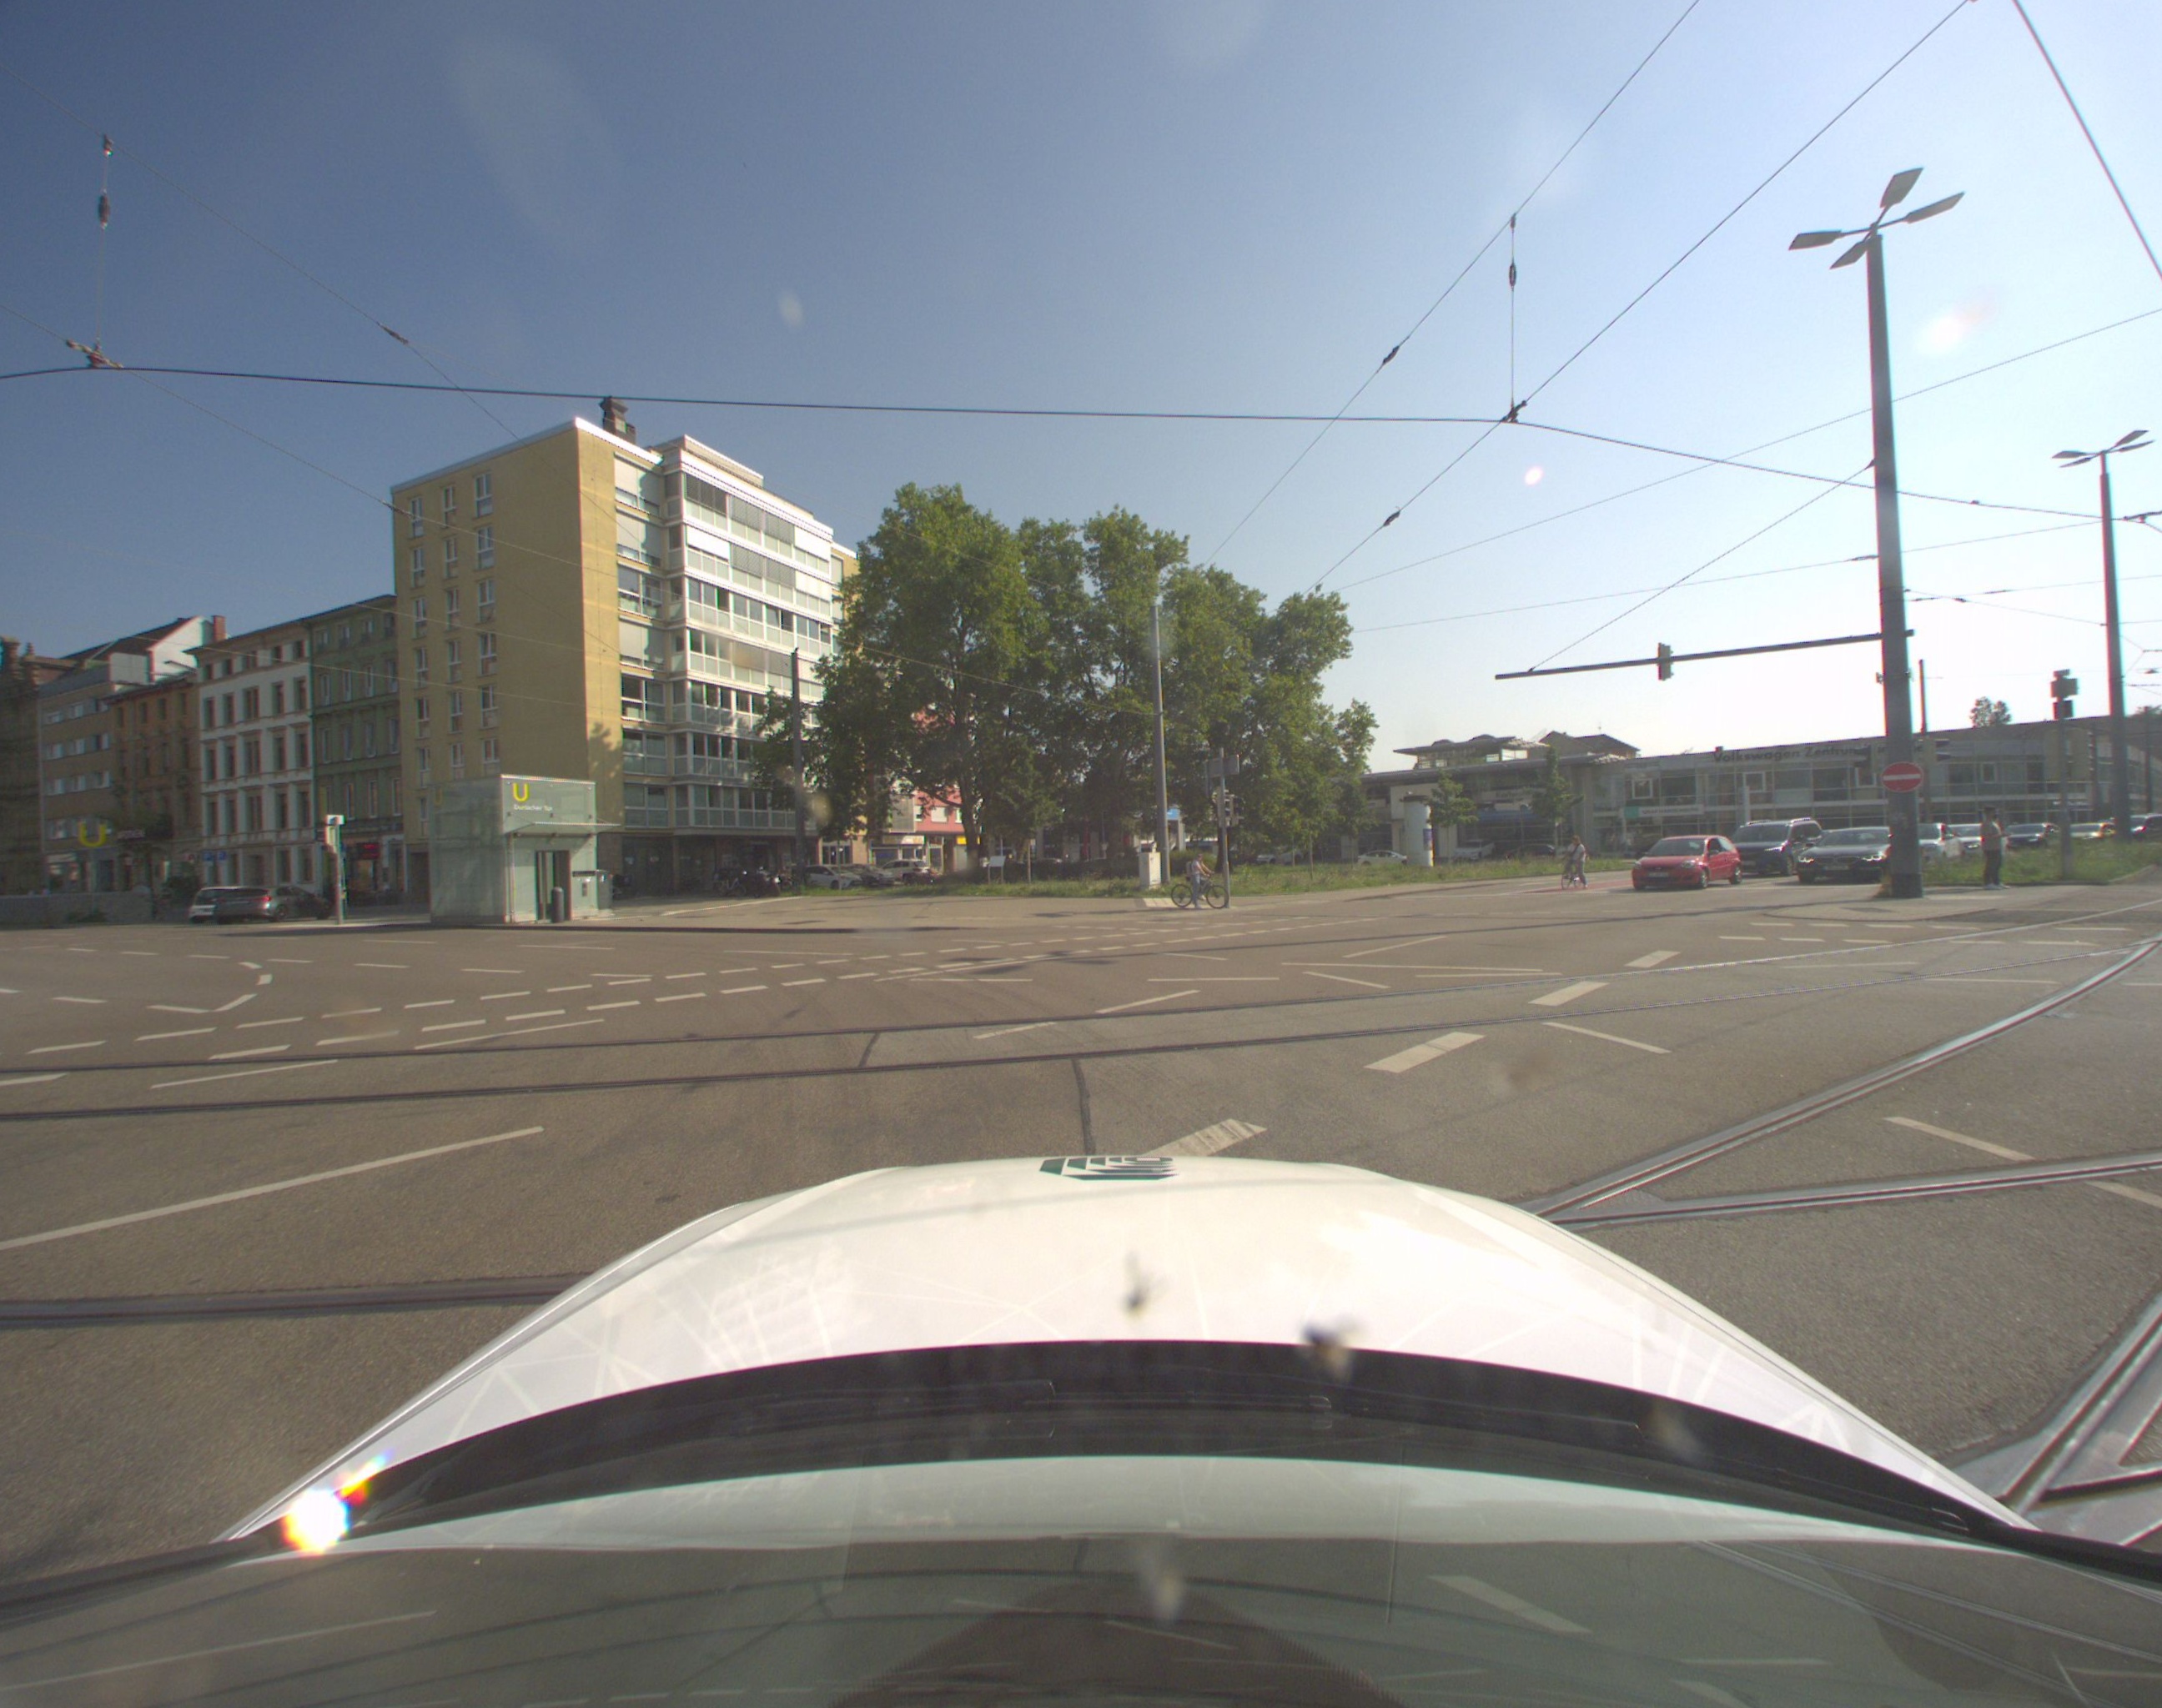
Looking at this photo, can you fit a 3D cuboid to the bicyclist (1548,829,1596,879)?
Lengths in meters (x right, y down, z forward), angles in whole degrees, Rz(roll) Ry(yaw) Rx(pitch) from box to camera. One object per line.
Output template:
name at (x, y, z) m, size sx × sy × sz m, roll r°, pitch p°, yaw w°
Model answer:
bicyclist at (14.978, 0.006, 24.836) m, size 1.073 × 1.475 × 0.978 m, roll -2°, pitch 0°, yaw 39°

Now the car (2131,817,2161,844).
car at (60.640, -1.333, 45.744) m, size 4.017 × 1.415 × 1.784 m, roll -2°, pitch 0°, yaw -35°

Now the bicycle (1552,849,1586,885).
bicycle at (14.926, 0.390, 24.863) m, size 0.522 × 0.989 × 2.212 m, roll -3°, pitch -1°, yaw 40°

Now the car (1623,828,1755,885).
car at (17.276, 0.045, 23.106) m, size 4.017 × 1.415 × 1.784 m, roll -2°, pitch 0°, yaw -35°

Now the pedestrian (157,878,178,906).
pedestrian at (-55.885, 2.319, 49.834) m, size 0.728 × 1.629 × 0.614 m, roll -2°, pitch 0°, yaw 25°

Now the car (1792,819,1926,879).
car at (21.269, -0.171, 22.213) m, size 4.368 × 1.451 × 1.784 m, roll -2°, pitch 0°, yaw -35°

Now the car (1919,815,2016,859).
car at (31.653, -0.610, 29.042) m, size 4.017 × 1.415 × 1.784 m, roll -2°, pitch 0°, yaw -35°

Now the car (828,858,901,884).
car at (-13.474, 1.059, 50.708) m, size 3.950 × 1.507 × 2.012 m, roll -2°, pitch 0°, yaw 25°

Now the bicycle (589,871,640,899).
bicycle at (-22.348, 1.462, 39.056) m, size 0.662 × 1.206 × 2.035 m, roll -2°, pitch 1°, yaw 25°

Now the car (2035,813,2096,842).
car at (54.286, -1.466, 44.876) m, size 4.017 × 1.415 × 1.784 m, roll -2°, pitch 0°, yaw -35°

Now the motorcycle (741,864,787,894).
motorcycle at (-12.917, 1.008, 33.169) m, size 2.271 × 1.147 × 0.710 m, roll -2°, pitch 0°, yaw 40°

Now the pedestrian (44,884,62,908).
pedestrian at (-78.422, 3.216, 62.141) m, size 0.733 × 1.831 × 0.608 m, roll -2°, pitch 0°, yaw 21°

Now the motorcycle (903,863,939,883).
motorcycle at (-8.213, 0.990, 41.802) m, size 1.931 × 1.001 × 0.710 m, roll -2°, pitch 0°, yaw 40°

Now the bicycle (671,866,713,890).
bicycle at (-20.852, 1.285, 43.715) m, size 0.662 × 1.183 × 2.035 m, roll -2°, pitch 1°, yaw 25°

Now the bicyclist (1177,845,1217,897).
bicyclist at (3.284, 0.476, 23.013) m, size 0.809 × 1.427 × 0.735 m, roll -2°, pitch 0°, yaw 43°

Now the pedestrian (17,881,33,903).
pedestrian at (-84.664, 3.039, 65.262) m, size 0.580 × 1.692 × 0.608 m, roll -2°, pitch 0°, yaw 21°

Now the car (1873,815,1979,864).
car at (26.971, -0.467, 25.974) m, size 3.571 × 1.435 × 1.784 m, roll -2°, pitch 0°, yaw -35°

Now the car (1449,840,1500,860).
car at (30.642, -0.340, 63.360) m, size 4.347 × 1.462 × 1.976 m, roll -2°, pitch 0°, yaw -41°

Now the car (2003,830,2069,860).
car at (49.037, -0.464, 41.789) m, size 4.017 × 1.415 × 1.784 m, roll -2°, pitch 0°, yaw -35°

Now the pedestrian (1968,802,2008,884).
pedestrian at (19.599, -0.239, 17.605) m, size 0.601 × 1.730 × 0.519 m, roll -1°, pitch 0°, yaw -39°

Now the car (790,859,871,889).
car at (-14.122, 1.112, 45.925) m, size 3.950 × 1.507 × 2.012 m, roll -2°, pitch 0°, yaw 25°

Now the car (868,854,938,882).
car at (-11.545, 0.891, 52.920) m, size 3.950 × 1.644 × 2.012 m, roll -2°, pitch 0°, yaw 25°

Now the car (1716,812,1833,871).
car at (23.451, -0.432, 27.492) m, size 4.793 × 1.827 × 1.784 m, roll -2°, pitch 0°, yaw -35°

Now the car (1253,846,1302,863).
car at (18.229, 0.038, 75.599) m, size 4.064 × 1.462 × 1.985 m, roll -2°, pitch 0°, yaw -22°

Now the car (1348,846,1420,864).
car at (21.517, 0.077, 57.936) m, size 4.342 × 1.165 × 2.013 m, roll -2°, pitch 0°, yaw 41°

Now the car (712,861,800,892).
car at (-16.430, 1.143, 41.153) m, size 4.142 × 1.441 × 1.672 m, roll -2°, pitch 0°, yaw 25°

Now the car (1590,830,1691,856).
car at (32.027, -0.608, 46.781) m, size 2.002 × 1.370 × 4.365 m, roll -2°, pitch 0°, yaw -23°

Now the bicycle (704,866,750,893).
bicycle at (-17.317, 1.231, 39.823) m, size 2.274 × 1.235 × 0.527 m, roll -2°, pitch 0°, yaw 20°

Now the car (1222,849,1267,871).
car at (15.955, 0.583, 79.782) m, size 1.956 × 2.013 × 3.953 m, roll -2°, pitch 0°, yaw -40°

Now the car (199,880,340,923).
car at (-31.537, 1.790, 31.845) m, size 1.844 × 1.423 × 4.388 m, roll -2°, pitch 0°, yaw -14°

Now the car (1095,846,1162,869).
car at (3.194, 0.204, 54.476) m, size 3.951 × 1.376 × 2.011 m, roll -2°, pitch 0°, yaw 23°

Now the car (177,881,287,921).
car at (-35.228, 1.897, 33.919) m, size 1.622 × 1.464 × 3.508 m, roll -2°, pitch -1°, yaw -17°

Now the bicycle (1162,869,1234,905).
bicycle at (3.283, 0.907, 23.036) m, size 2.050 × 0.893 × 0.571 m, roll 1°, pitch 2°, yaw 44°
